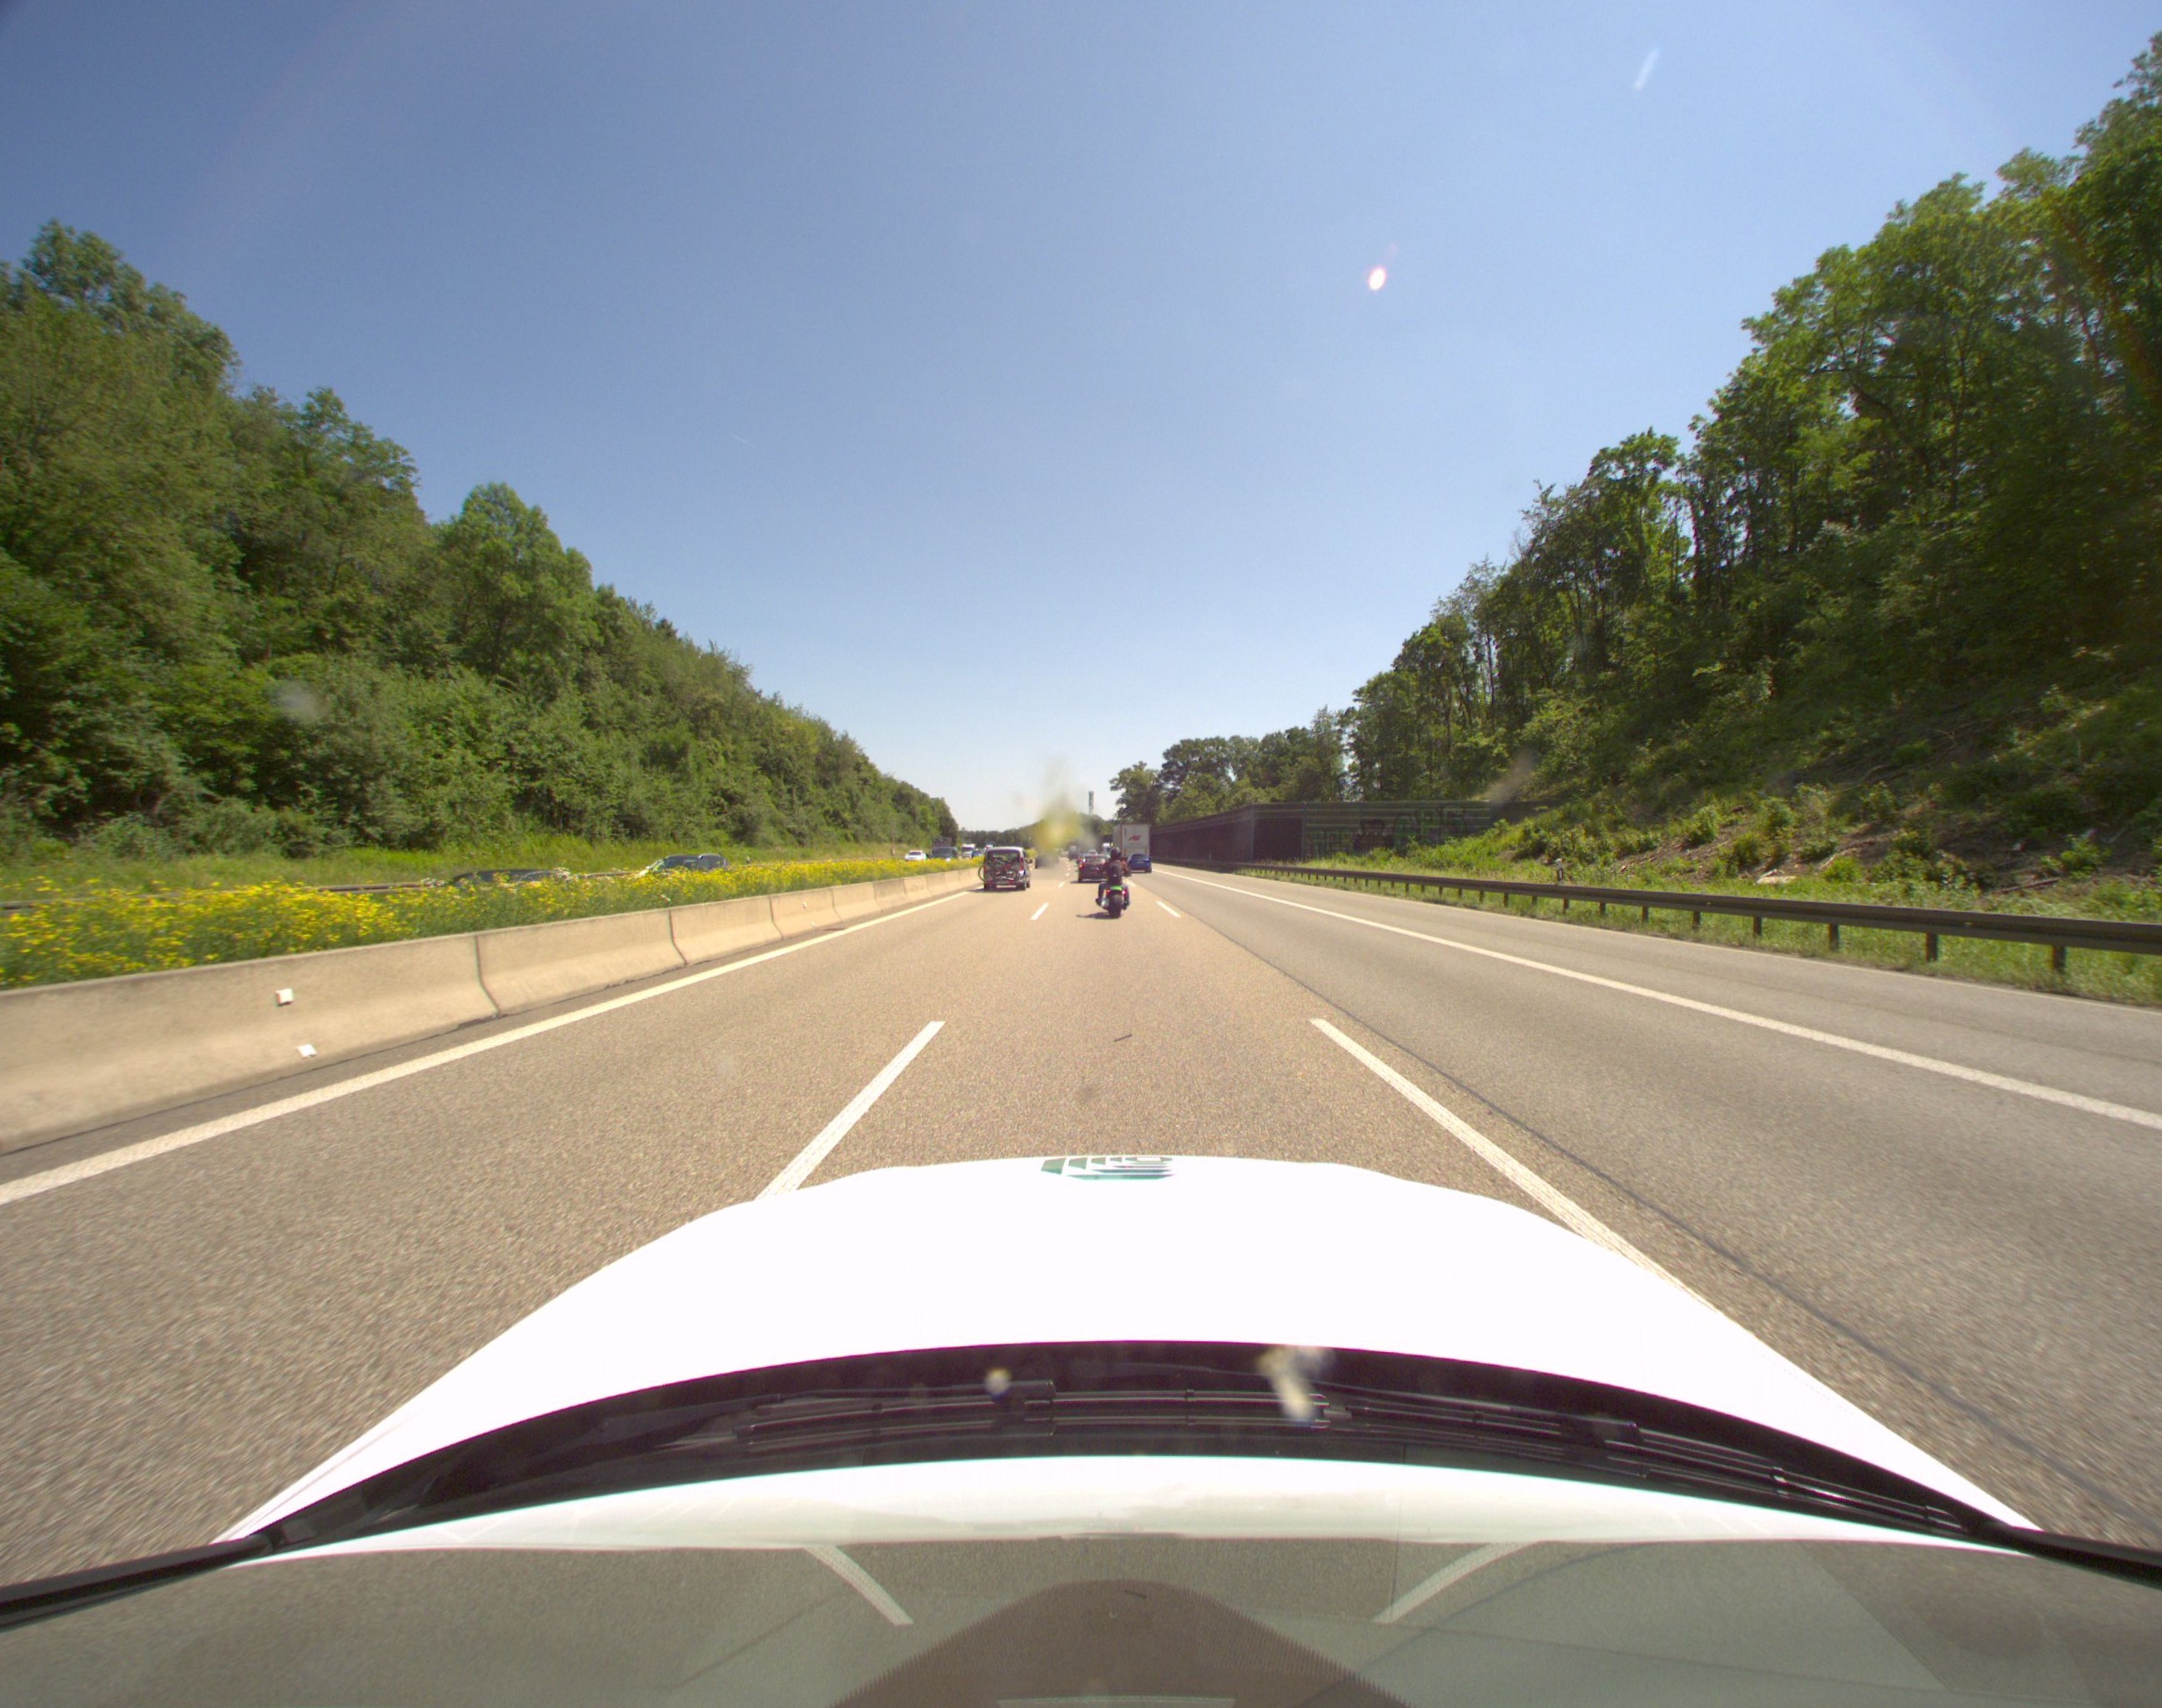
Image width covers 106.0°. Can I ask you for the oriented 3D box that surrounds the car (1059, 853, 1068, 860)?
[{"bbox_3d":[-3.633,0.587,171.790,1.827,1.496,3.741,-1,-1,-2],"label":"car"}]

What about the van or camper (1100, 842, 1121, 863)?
[{"bbox_3d":[4.051,-0.178,113.232,2.676,2.813,6.801,-1,-1,0],"label":"van or camper"}]

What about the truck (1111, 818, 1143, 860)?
[{"bbox_3d":[4.652,-1.484,83.302,2.876,4.146,5.985,-1,0,0],"label":"truck"}]

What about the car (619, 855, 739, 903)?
[{"bbox_3d":[-13.555,0.819,27.751,1.986,1.486,4.001,-1,-1,1],"label":"car"}]

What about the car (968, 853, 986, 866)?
[{"bbox_3d":[-14.665,0.780,115.263,1.987,1.690,4.399,-1,-1,0],"label":"car"}]

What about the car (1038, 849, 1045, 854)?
[{"bbox_3d":[-11.775,-0.695,241.842,1.828,1.496,3.739,-1,-1,-3],"label":"car"}]

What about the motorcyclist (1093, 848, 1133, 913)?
[{"bbox_3d":[0.789,0.621,19.485,0.896,1.475,1.874,-1,-1,4],"label":"motorcyclist"}]

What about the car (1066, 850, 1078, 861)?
[{"bbox_3d":[-1.664,0.343,150.569,1.907,2.014,3.686,-1,-1,-3],"label":"car"}]

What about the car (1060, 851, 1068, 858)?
[{"bbox_3d":[-4.093,0.076,196.347,1.827,1.496,3.741,-1,-1,-2],"label":"car"}]

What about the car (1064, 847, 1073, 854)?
[{"bbox_3d":[-3.316,-0.965,216.323,2.103,1.876,3.995,-1,-1,-3],"label":"car"}]

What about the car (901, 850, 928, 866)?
[{"bbox_3d":[-17.863,0.404,87.448,1.987,1.616,4.483,-1,0,0],"label":"car"}]

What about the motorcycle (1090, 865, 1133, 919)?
[{"bbox_3d":[0.774,0.873,19.569,0.960,1.148,2.814,0,0,4],"label":"motorcycle"}]

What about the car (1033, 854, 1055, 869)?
[{"bbox_3d":[-3.615,0.720,80.130,1.987,1.387,3.998,-1,-1,-1],"label":"car"}]

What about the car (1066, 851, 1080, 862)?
[{"bbox_3d":[-1.213,0.356,125.702,1.987,1.640,3.999,-1,-1,0],"label":"car"}]

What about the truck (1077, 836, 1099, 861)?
[{"bbox_3d":[1.344,-1.094,166.879,3.795,4.960,8.937,-1,-1,-4],"label":"truck"}]

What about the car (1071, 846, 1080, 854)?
[{"bbox_3d":[-1.550,-0.978,210.893,2.103,1.876,3.995,-1,-1,-3],"label":"car"}]

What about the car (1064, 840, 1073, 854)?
[{"bbox_3d":[-3.610,-1.991,229.276,2.129,3.861,8.132,0,0,-4],"label":"car"}]

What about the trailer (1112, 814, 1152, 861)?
[{"bbox_3d":[4.639,-1.436,76.697,2.876,4.038,13.793,-1,0,0],"label":"trailer"}]

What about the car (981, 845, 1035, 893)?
[{"bbox_3d":[-3.029,0.623,34.749,1.893,1.873,4.411,-1,-1,-1],"label":"car"}]

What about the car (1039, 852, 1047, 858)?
[{"bbox_3d":[-9.024,0.203,195.792,1.827,1.496,3.741,-1,-1,-2],"label":"car"}]

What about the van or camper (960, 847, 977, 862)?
[{"bbox_3d":[-20.300,0.160,146.746,2.180,2.560,6.928,-1,-1,-1],"label":"van or camper"}]

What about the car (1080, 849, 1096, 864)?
[{"bbox_3d":[0.798,0.276,89.989,1.773,1.552,3.585,-1,-1,1],"label":"car"}]

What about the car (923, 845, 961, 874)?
[{"bbox_3d":[-10.350,0.428,60.833,1.986,2.014,4.422,-1,-1,1],"label":"car"}]

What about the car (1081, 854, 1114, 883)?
[{"bbox_3d":[0.832,0.745,42.926,1.657,1.453,3.868,-1,-1,0],"label":"car"}]

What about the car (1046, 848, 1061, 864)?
[{"bbox_3d":[-3.494,0.332,105.029,1.786,2.014,3.641,-1,-1,-1],"label":"car"}]

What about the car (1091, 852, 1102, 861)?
[{"bbox_3d":[2.855,0.472,152.743,1.988,1.574,3.997,-1,-1,-1],"label":"car"}]

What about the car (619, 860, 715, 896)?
[{"bbox_3d":[-17.927,1.003,35.502,1.987,1.442,4.171,-1,-1,1],"label":"car"}]

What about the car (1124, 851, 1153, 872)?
[{"bbox_3d":[4.283,0.577,61.045,1.647,1.483,4.477,-1,-1,-3],"label":"car"}]
